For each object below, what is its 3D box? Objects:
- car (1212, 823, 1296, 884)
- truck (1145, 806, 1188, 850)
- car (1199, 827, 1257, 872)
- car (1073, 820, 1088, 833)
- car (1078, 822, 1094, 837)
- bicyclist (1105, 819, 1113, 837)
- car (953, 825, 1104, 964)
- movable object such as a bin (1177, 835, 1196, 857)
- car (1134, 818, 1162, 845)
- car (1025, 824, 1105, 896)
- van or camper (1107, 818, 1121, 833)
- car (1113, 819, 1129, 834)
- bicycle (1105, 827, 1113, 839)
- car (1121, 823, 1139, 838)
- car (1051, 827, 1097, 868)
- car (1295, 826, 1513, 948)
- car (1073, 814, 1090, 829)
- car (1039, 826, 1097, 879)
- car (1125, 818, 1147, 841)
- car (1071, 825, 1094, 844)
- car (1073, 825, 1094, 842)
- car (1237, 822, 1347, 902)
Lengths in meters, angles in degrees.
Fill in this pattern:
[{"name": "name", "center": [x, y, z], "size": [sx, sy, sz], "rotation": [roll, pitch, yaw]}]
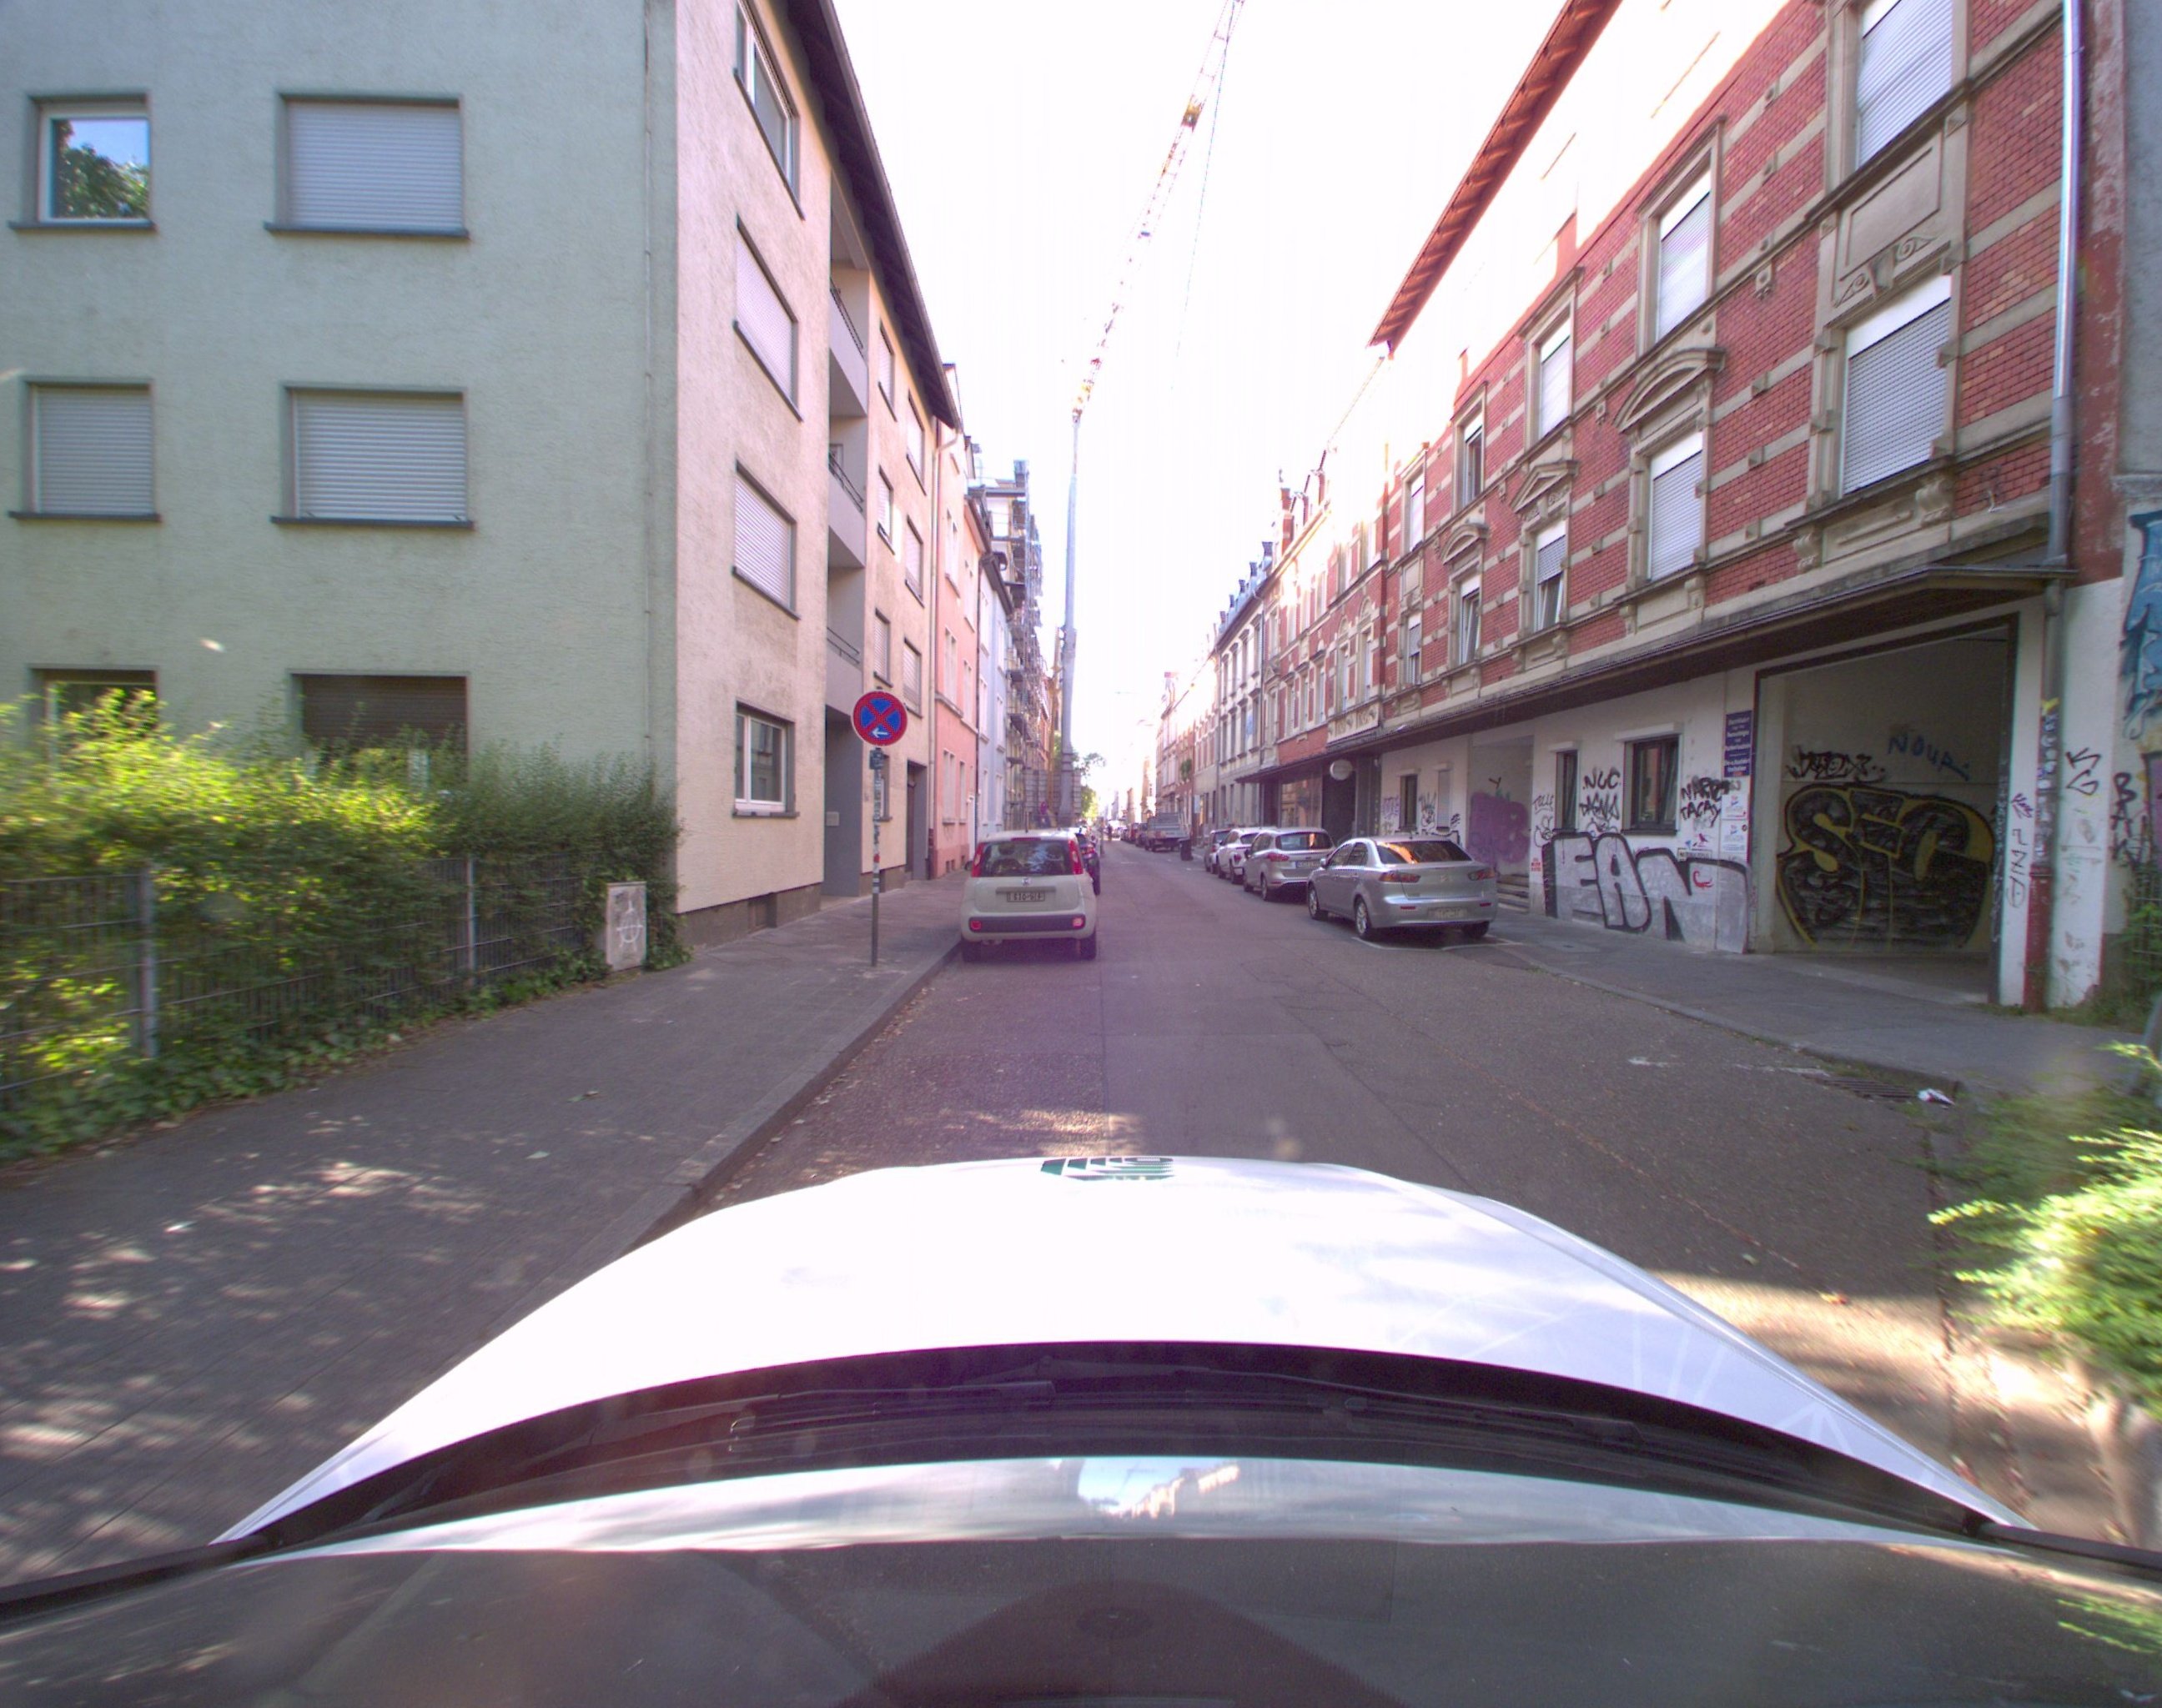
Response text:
[{"name": "car", "center": [5.134, -0.076, 24.689], "size": [1.740, 1.675, 4.343], "rotation": [0, 2, 1]}, {"name": "truck", "center": [5.379, -1.661, 51.881], "size": [2.183, 2.606, 5.233], "rotation": [-1, 2, -1]}, {"name": "car", "center": [5.318, -0.216, 29.885], "size": [1.590, 1.560, 3.816], "rotation": [0, 2, 2]}, {"name": "car", "center": [-0.104, -3.962, 116.405], "size": [1.988, 1.848, 3.999], "rotation": [-1, 2, -1]}, {"name": "car", "center": [0.527, -2.681, 88.189], "size": [1.670, 1.571, 3.867], "rotation": [0, 2, -2]}, {"name": "bicyclist", "center": [2.729, -2.553, 79.747], "size": [0.728, 1.761, 0.835], "rotation": [1, 2, 0]}, {"name": "car", "center": [-0.637, 0.392, 11.058], "size": [1.670, 1.539, 3.867], "rotation": [-1, 2, -2]}, {"name": "movable object such as a bin", "center": [5.123, -0.374, 39.580], "size": [0.792, 1.056, 0.660], "rotation": [0, 2, 0]}, {"name": "car", "center": [5.114, -1.715, 62.387], "size": [1.670, 1.962, 4.107], "rotation": [0, 2, -2]}, {"name": "car", "center": [-0.412, 0.061, 20.159], "size": [1.724, 1.539, 4.375], "rotation": [-1, 2, -2]}, {"name": "van or camper", "center": [5.691, -4.993, 141.374], "size": [1.989, 2.508, 4.197], "rotation": [-1, 2, -4]}, {"name": "car", "center": [5.501, -3.887, 112.766], "size": [1.988, 2.013, 3.999], "rotation": [1, 2, -1]}, {"name": "bicycle", "center": [2.724, -2.057, 79.781], "size": [0.722, 1.186, 2.043], "rotation": [1, 3, 1]}, {"name": "car", "center": [5.312, -2.550, 88.359], "size": [1.670, 1.571, 3.867], "rotation": [0, 2, -2]}, {"name": "car", "center": [-0.246, -0.317, 31.543], "size": [1.669, 1.477, 4.608], "rotation": [0, 2, 0]}, {"name": "car", "center": [4.827, 0.366, 12.919], "size": [1.715, 1.561, 4.399], "rotation": [1, 2, 0]}, {"name": "car", "center": [0.017, -3.287, 82.975], "size": [1.670, 1.571, 3.867], "rotation": [0, 2, -2]}, {"name": "car", "center": [-0.357, -0.112, 25.816], "size": [1.669, 1.511, 4.415], "rotation": [0, 2, 0]}, {"name": "car", "center": [5.040, -2.270, 74.864], "size": [1.670, 2.030, 3.867], "rotation": [0, 2, -2]}, {"name": "car", "center": [0.096, -1.525, 64.024], "size": [1.670, 1.445, 3.867], "rotation": [0, 2, -2]}, {"name": "car", "center": [0.198, -1.852, 72.836], "size": [1.670, 1.445, 3.867], "rotation": [0, 2, -2]}, {"name": "car", "center": [4.805, 0.112, 19.035], "size": [1.634, 1.656, 3.871], "rotation": [1, 2, 1]}]
